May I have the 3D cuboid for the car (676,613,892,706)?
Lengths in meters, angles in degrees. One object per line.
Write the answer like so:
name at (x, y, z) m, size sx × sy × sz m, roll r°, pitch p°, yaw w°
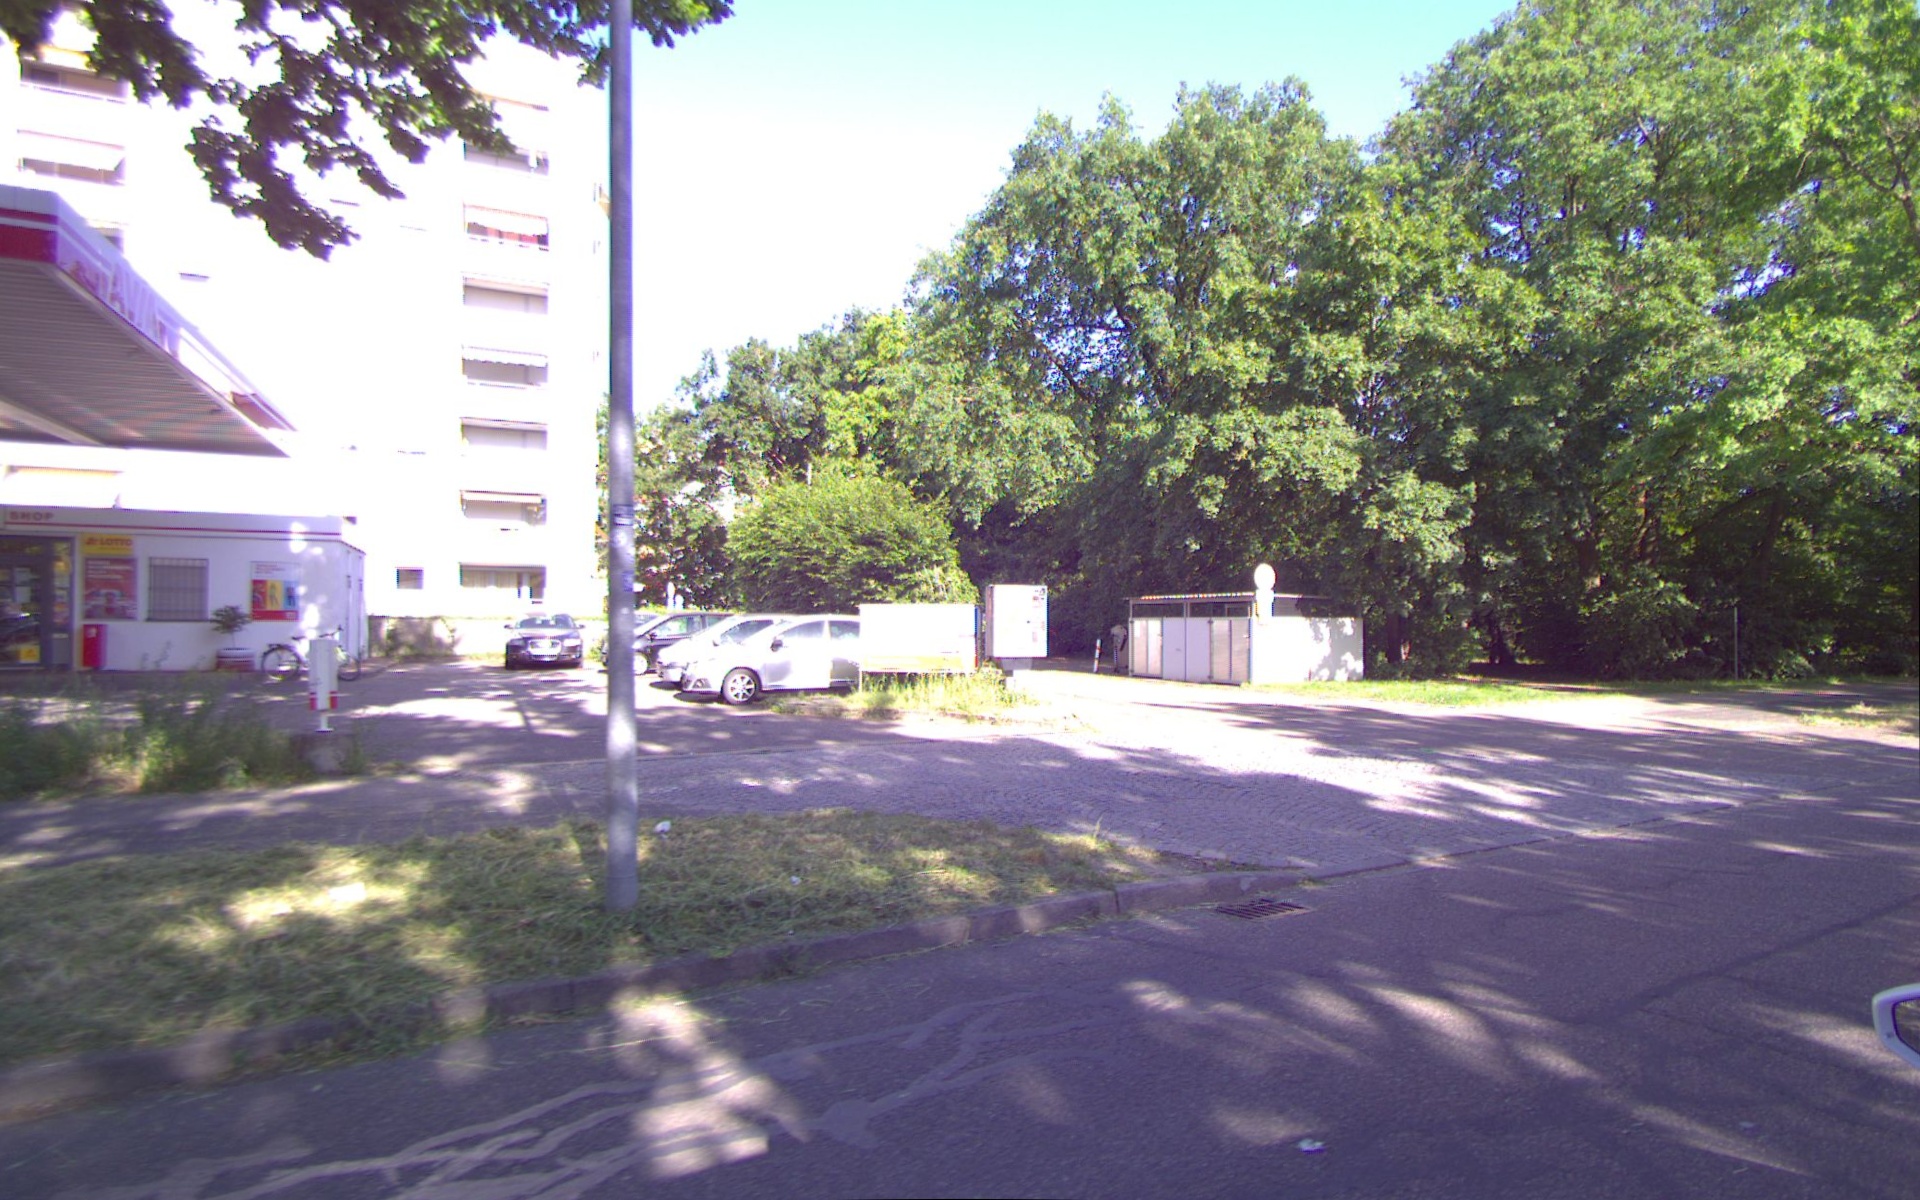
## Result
car at (-3.050, 0.983, 17.402) m, size 3.436 × 1.441 × 1.543 m, roll 1°, pitch 0°, yaw -23°

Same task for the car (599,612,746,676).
car at (-6.715, 0.991, 23.430) m, size 3.159 × 1.386 × 1.419 m, roll 1°, pitch 0°, yaw -23°

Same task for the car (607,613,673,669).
car at (-8.627, 1.060, 26.941) m, size 1.438 × 1.335 × 3.188 m, roll 1°, pitch 0°, yaw -22°

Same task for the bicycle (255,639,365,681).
bicycle at (-13.093, 1.193, 20.277) m, size 1.750 × 0.818 × 0.617 m, roll 1°, pitch -1°, yaw -16°

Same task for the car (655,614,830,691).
car at (-4.268, 0.988, 19.696) m, size 3.159 × 1.386 × 1.419 m, roll 1°, pitch 0°, yaw -23°

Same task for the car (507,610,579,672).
car at (-10.543, 0.997, 25.492) m, size 1.562 × 1.419 × 3.188 m, roll 1°, pitch 0°, yaw -22°

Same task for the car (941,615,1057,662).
car at (1.544, 1.496, 39.723) m, size 4.205 × 1.777 × 1.984 m, roll 1°, pitch -2°, yaw -30°
